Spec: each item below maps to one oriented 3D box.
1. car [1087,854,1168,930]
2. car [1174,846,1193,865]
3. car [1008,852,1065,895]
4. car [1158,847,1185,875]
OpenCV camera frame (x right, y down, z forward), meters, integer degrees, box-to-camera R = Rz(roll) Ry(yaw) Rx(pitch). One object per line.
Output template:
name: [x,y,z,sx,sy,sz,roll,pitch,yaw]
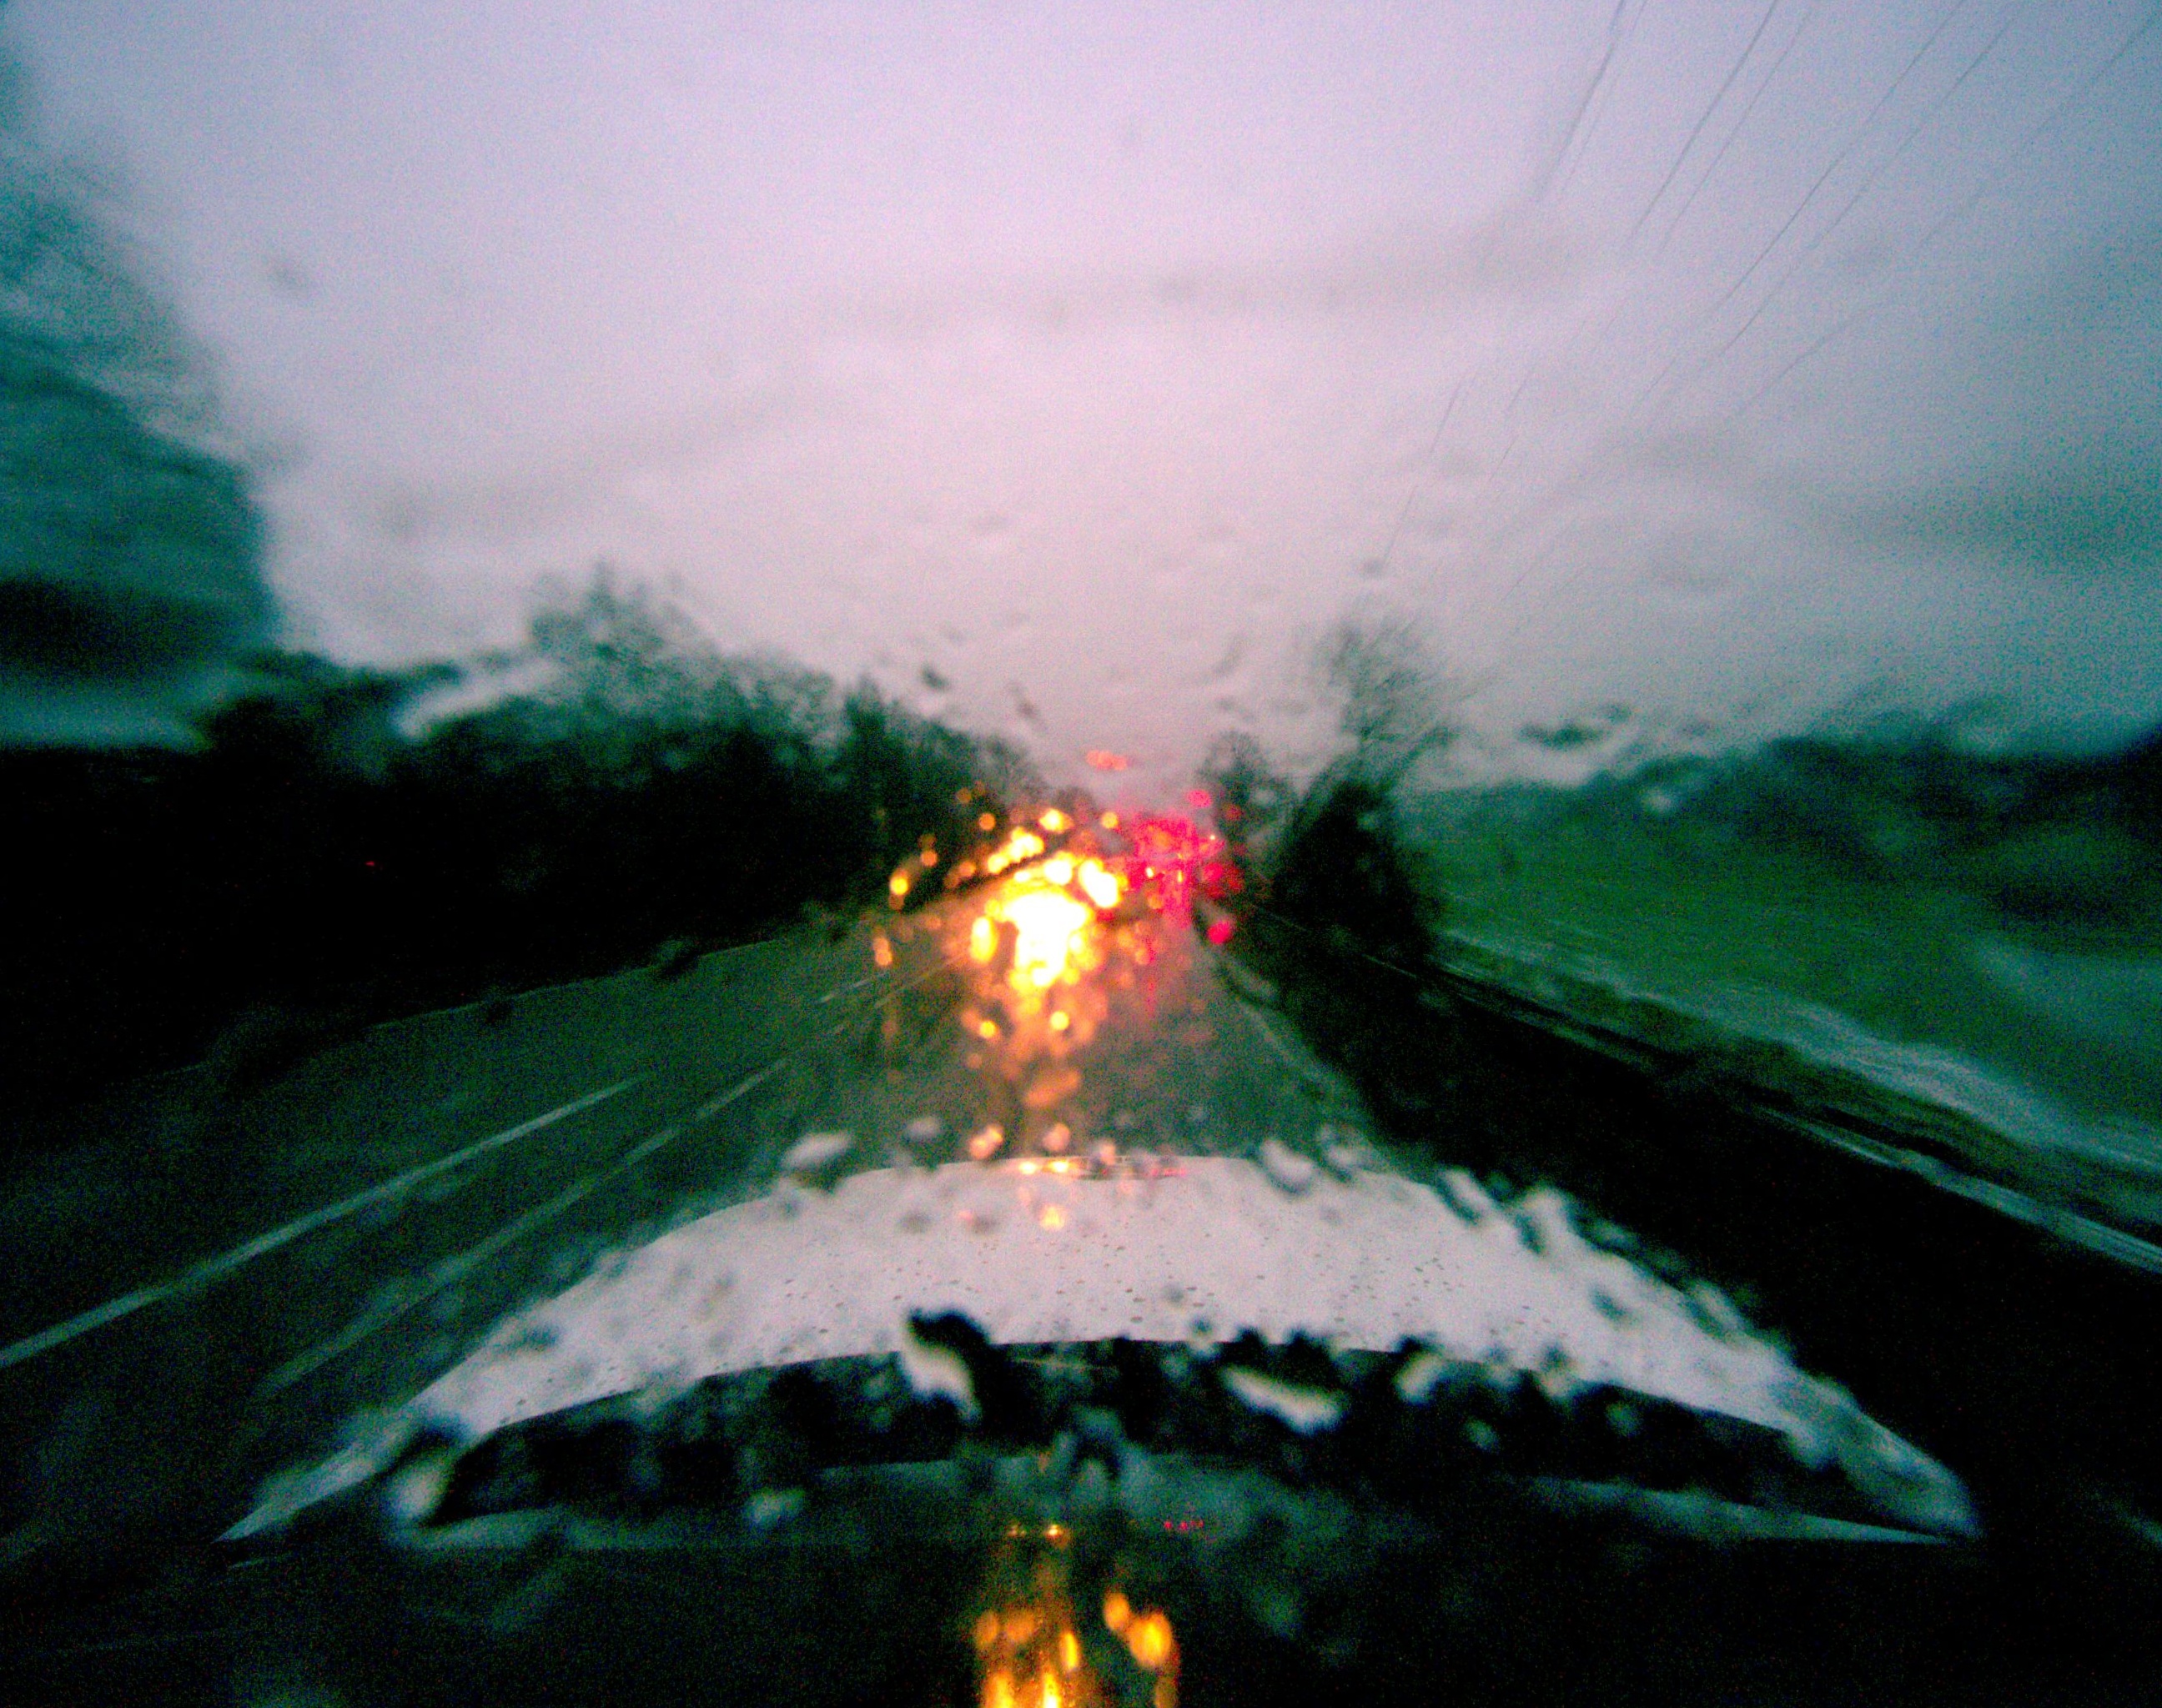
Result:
car: [1.174,0.855,20.533,1.723,1.532,4.046,-5,0,3]
car: [11.426,0.137,91.167,1.937,1.744,4.007,-1,4,5]
car: [-1.722,0.729,32.689,1.692,1.575,4.006,-2,0,5]
car: [7.694,0.583,69.664,1.937,2.013,4.006,-7,0,5]
